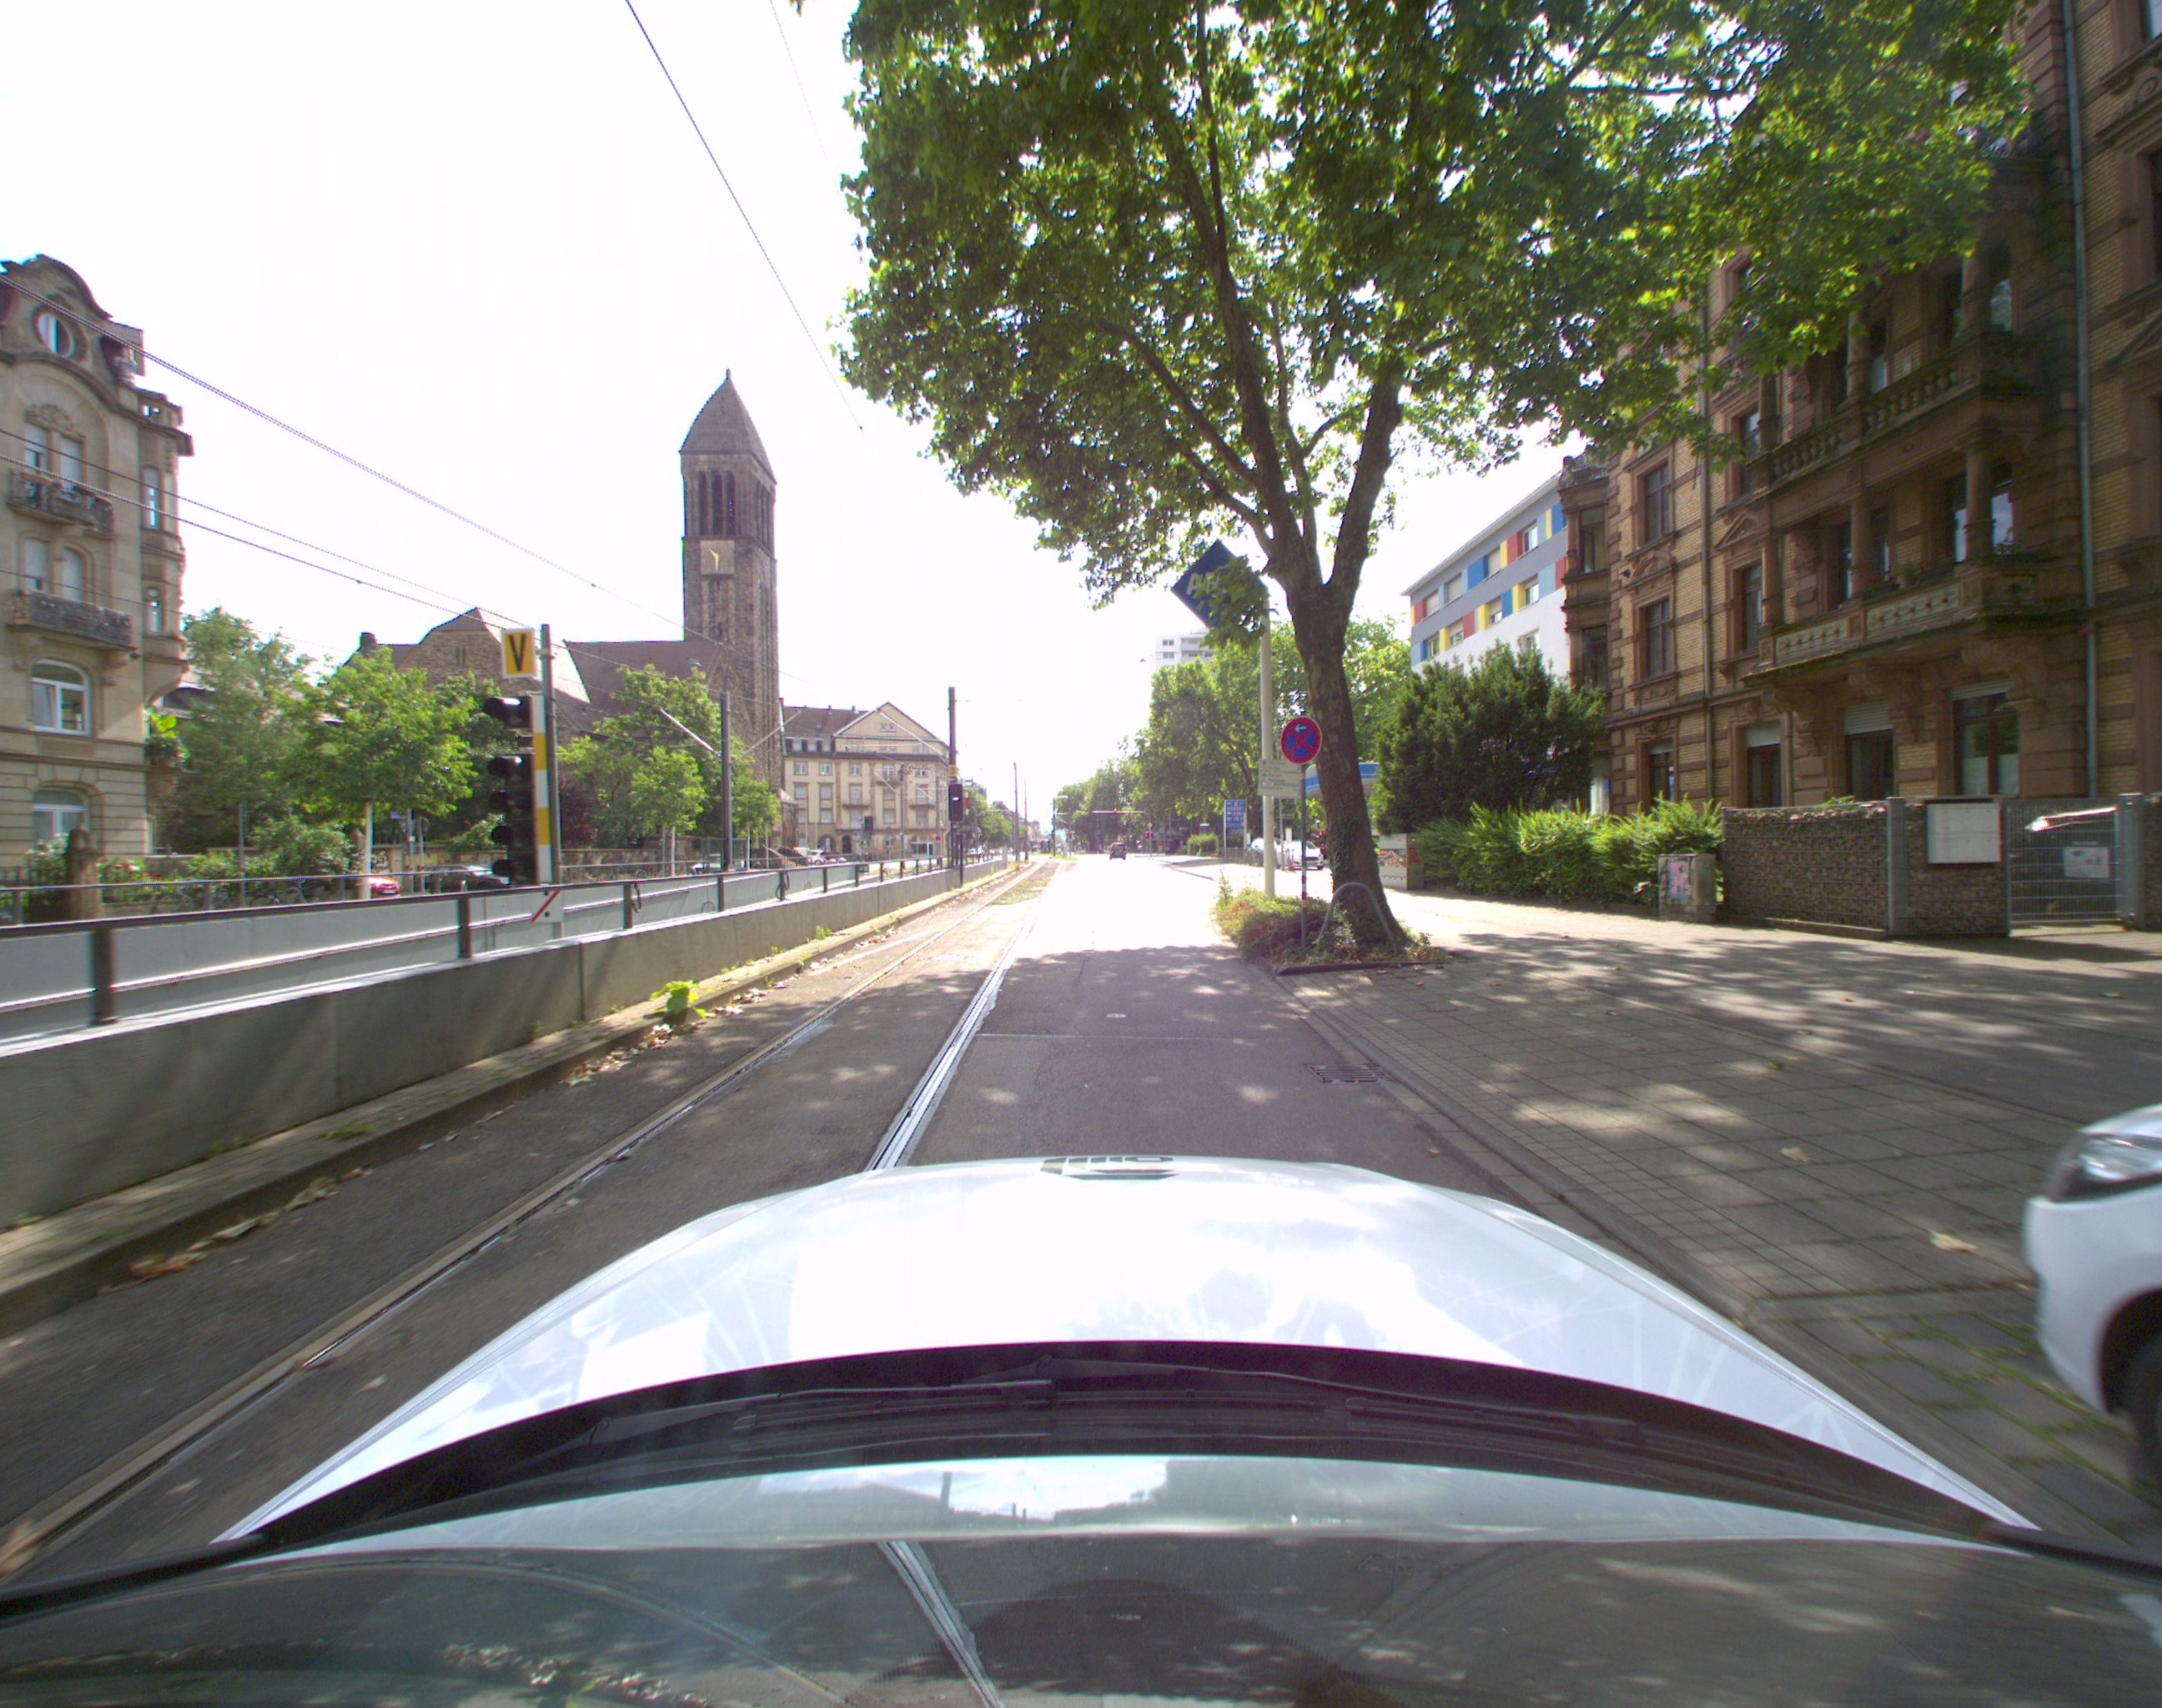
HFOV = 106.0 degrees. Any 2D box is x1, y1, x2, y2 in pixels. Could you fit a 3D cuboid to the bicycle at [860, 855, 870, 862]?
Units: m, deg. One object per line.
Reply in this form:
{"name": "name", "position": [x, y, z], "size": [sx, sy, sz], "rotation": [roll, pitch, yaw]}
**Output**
{"name": "bicycle", "position": [-31.577, 0.671, 118.837], "size": [0.808, 1.053, 2.542], "rotation": [-2, 0, -29]}

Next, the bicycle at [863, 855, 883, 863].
{"name": "bicycle", "position": [-30.067, 0.672, 117.718], "size": [2.572, 1.053, 0.676], "rotation": [-2, 0, -28]}

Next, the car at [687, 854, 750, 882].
{"name": "car", "position": [-22.009, 0.810, 49.639], "size": [1.926, 1.504, 4.411], "rotation": [-1, 1, -2]}

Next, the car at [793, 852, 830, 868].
{"name": "car", "position": [-27.965, 0.612, 84.619], "size": [3.257, 1.502, 1.853], "rotation": [-1, 0, -2]}

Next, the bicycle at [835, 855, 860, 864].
{"name": "bicycle", "position": [-33.479, 0.812, 116.784], "size": [3.285, 1.253, 1.003], "rotation": [-1, 0, 16]}

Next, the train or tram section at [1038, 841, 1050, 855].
{"name": "train or tram section", "position": [-9.196, -1.575, 205.085], "size": [2.233, 3.331, 12.970], "rotation": [-1, 0, 0]}

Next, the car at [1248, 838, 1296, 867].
{"name": "car", "position": [11.192, -0.109, 48.071], "size": [1.799, 1.602, 4.583], "rotation": [-1, 0, 1]}

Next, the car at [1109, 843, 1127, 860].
{"name": "car", "position": [4.049, -0.283, 89.618], "size": [1.745, 1.808, 3.474], "rotation": [0, 0, 0]}

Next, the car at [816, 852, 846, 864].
{"name": "car", "position": [-35.508, 0.573, 115.680], "size": [3.948, 1.674, 2.013], "rotation": [-1, 0, 32]}

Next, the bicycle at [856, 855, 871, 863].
{"name": "bicycle", "position": [-31.077, 0.678, 116.288], "size": [1.986, 1.114, 0.482], "rotation": [-2, 0, -37]}

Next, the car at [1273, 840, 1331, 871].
{"name": "car", "position": [11.097, 0.039, 41.138], "size": [1.800, 1.455, 4.000], "rotation": [-1, 0, -1]}

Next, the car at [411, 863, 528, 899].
{"name": "car", "position": [-27.982, 1.214, 37.352], "size": [3.950, 1.464, 1.723], "rotation": [-2, 0, -1]}

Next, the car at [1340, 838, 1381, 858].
{"name": "car", "position": [23.672, -0.536, 69.131], "size": [1.999, 1.651, 4.654], "rotation": [0, 1, 1]}

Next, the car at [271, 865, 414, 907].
{"name": "car", "position": [-28.577, 1.217, 31.613], "size": [3.765, 1.464, 1.934], "rotation": [-1, 0, 2]}

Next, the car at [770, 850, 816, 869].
{"name": "car", "position": [-28.726, 0.503, 81.326], "size": [3.861, 1.748, 1.893], "rotation": [-1, 0, -4]}

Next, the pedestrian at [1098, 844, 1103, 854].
{"name": "pedestrian", "position": [3.331, -0.821, 139.378], "size": [0.657, 1.784, 0.660], "rotation": [-1, 0, 0]}

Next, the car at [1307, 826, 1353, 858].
{"name": "car", "position": [20.848, -0.990, 68.355], "size": [2.104, 2.582, 6.021], "rotation": [-1, 1, 1]}

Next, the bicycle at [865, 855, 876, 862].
{"name": "bicycle", "position": [-30.824, 0.668, 119.259], "size": [0.808, 1.053, 2.542], "rotation": [-2, 0, -29]}

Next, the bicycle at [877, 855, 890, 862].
{"name": "bicycle", "position": [-29.139, 0.653, 120.050], "size": [0.798, 1.053, 2.575], "rotation": [-1, 0, 12]}

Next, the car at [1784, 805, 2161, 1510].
{"name": "car", "position": [3.096, 0.644, 0.691], "size": [1.549, 1.485, 3.857], "rotation": [-5, 1, -1]}
